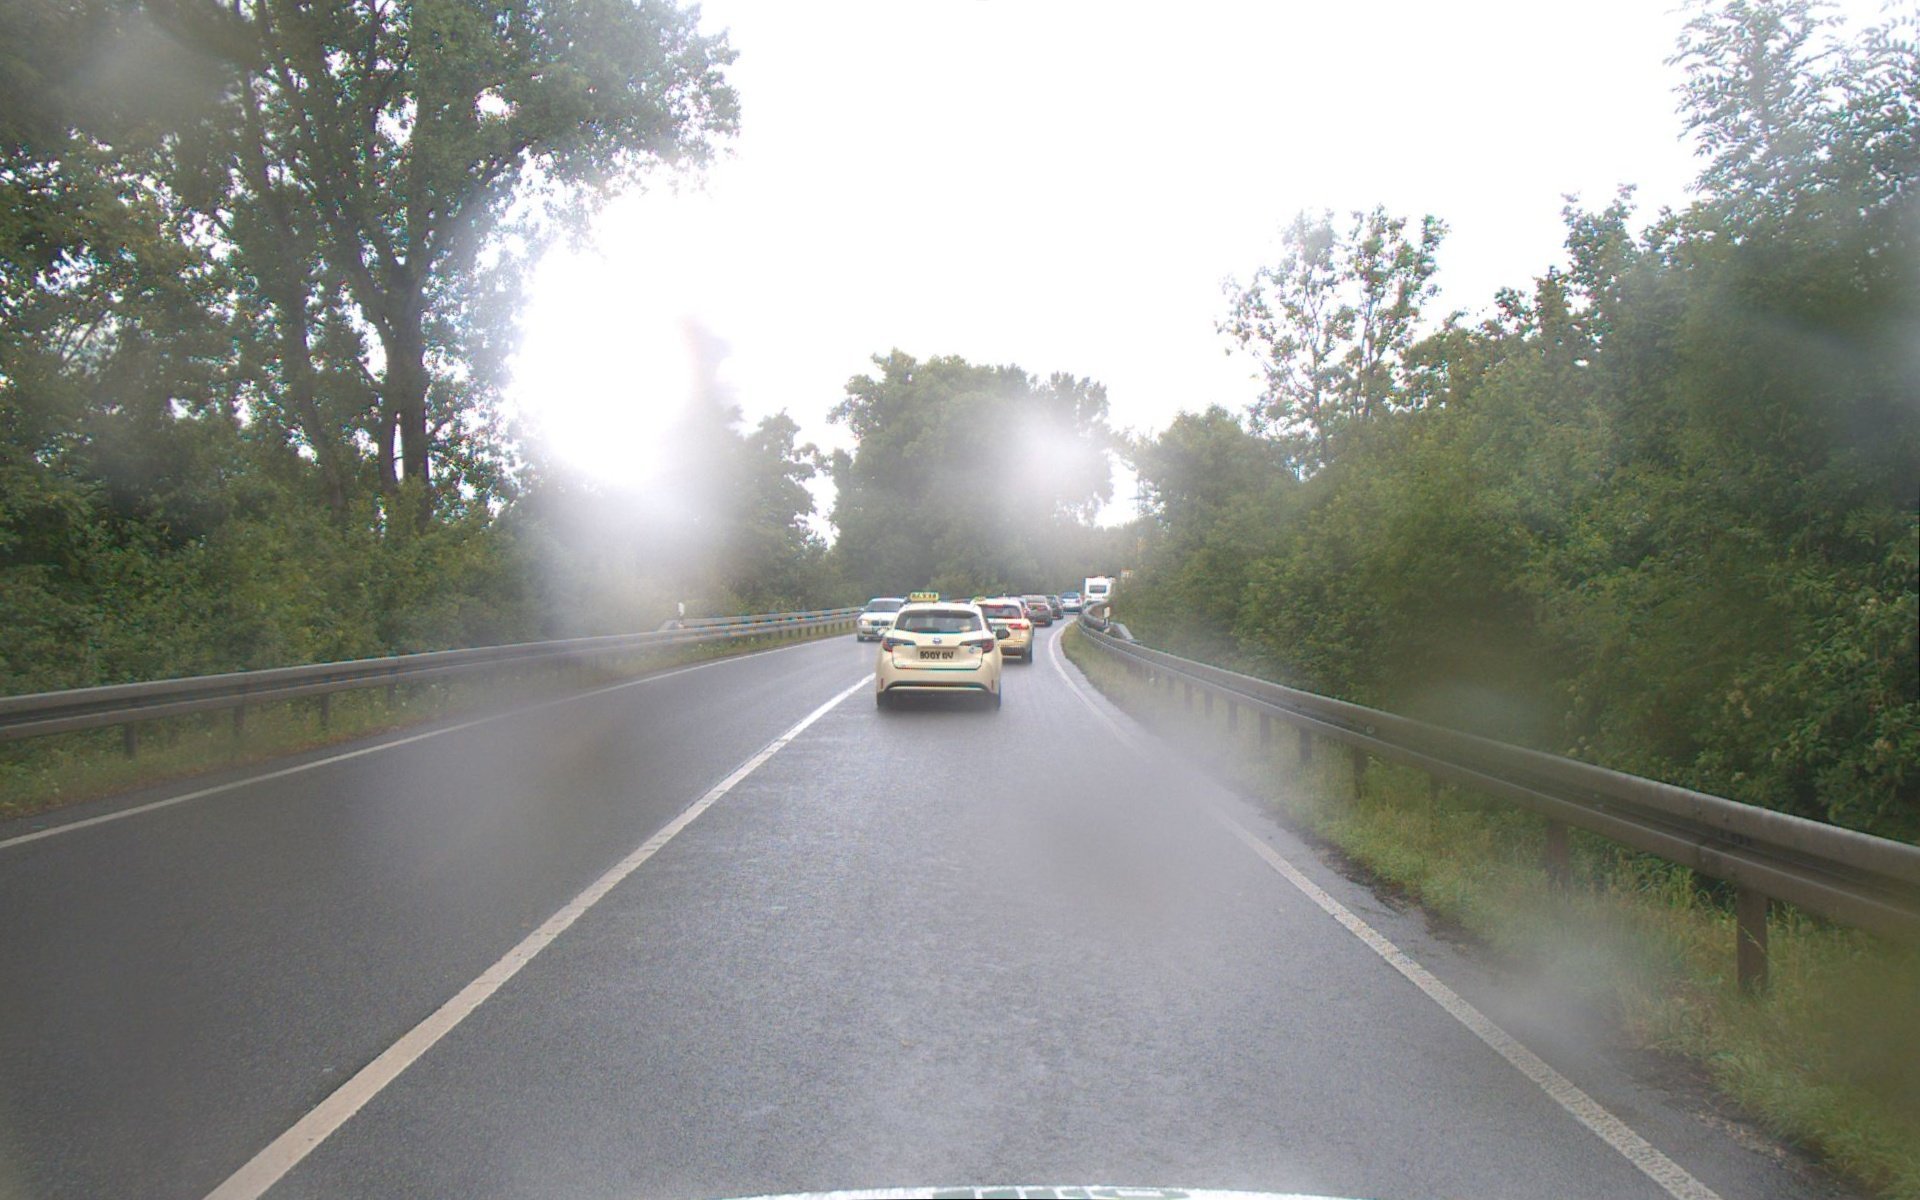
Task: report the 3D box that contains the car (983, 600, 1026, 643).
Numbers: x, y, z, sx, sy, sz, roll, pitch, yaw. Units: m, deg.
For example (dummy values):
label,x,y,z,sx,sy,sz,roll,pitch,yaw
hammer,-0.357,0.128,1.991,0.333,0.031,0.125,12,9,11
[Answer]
label,x,y,z,sx,sy,sz,roll,pitch,yaw
car,1.704,0.843,62.623,1.578,1.574,3.814,0,-2,2

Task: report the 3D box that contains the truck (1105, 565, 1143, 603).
label,x,y,z,sx,sy,sz,roll,pitch,yaw
truck,17.021,-1.662,171.311,3.041,3.745,7.005,0,-1,14

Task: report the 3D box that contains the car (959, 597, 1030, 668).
label,x,y,z,sx,sy,sz,roll,pitch,yaw
car,0.809,0.780,39.978,1.633,1.608,3.892,0,-1,0

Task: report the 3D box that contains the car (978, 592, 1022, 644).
label,x,y,z,sx,sy,sz,roll,pitch,yaw
car,1.247,0.582,52.312,1.274,1.574,3.259,0,-1,-1

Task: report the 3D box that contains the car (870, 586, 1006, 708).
label,x,y,z,sx,sy,sz,roll,pitch,yaw
car,-0.236,0.658,24.048,1.796,1.608,4.157,0,-1,1

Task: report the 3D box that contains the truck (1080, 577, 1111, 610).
label,x,y,z,sx,sy,sz,roll,pitch,yaw
truck,11.890,-0.500,145.662,2.496,2.760,7.537,0,-1,3

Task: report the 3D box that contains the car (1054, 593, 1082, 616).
label,x,y,z,sx,sy,sz,roll,pitch,yaw
car,7.628,0.311,116.561,1.732,1.574,3.816,0,-1,6

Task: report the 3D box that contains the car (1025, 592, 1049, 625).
label,x,y,z,sx,sy,sz,roll,pitch,yaw
car,3.777,0.443,81.099,1.142,1.574,2.605,0,-1,3

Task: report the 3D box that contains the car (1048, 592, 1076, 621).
label,x,y,z,sx,sy,sz,roll,pitch,yaw
car,5.973,0.419,96.650,1.582,1.641,3.623,0,-1,4

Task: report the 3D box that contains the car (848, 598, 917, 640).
label,x,y,z,sx,sy,sz,roll,pitch,yaw
car,-2.601,0.665,56.577,1.774,1.378,4.002,0,-1,6
